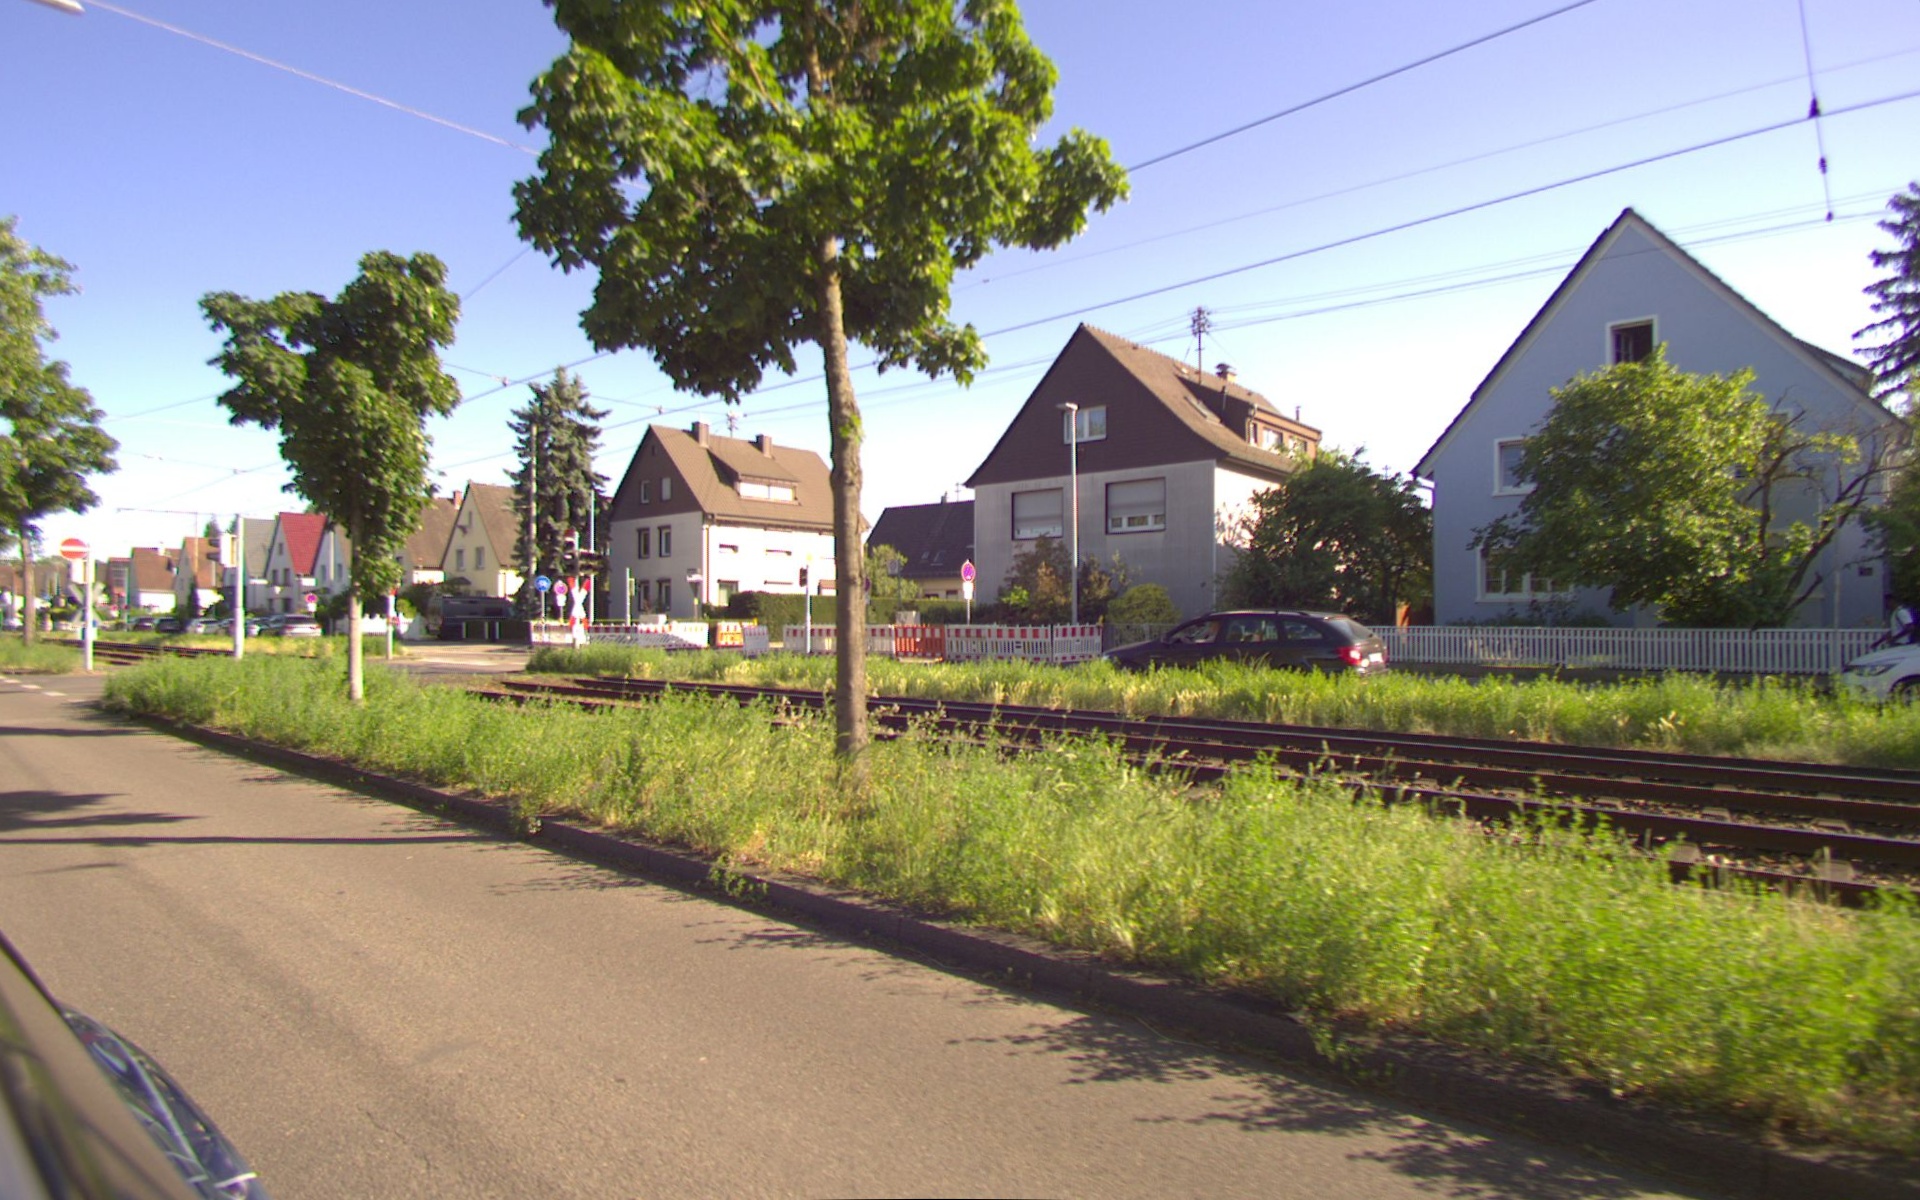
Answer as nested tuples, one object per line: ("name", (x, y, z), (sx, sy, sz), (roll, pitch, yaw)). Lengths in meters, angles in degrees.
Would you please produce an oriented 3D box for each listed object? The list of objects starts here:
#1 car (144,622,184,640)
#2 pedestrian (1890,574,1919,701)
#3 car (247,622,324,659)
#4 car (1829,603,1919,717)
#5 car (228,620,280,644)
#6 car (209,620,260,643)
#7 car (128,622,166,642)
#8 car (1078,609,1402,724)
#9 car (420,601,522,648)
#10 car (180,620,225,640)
("car", (-68.761, 2.661, 87.406), (4.253, 1.506, 1.906), (-1, 0, 41))
("pedestrian", (15.642, 0.590, 16.406), (0.772, 2.029, 0.674), (-1, 0, 40))
("car", (-32.765, 1.928, 49.116), (4.470, 1.615, 1.973), (-1, 0, 41))
("car", (14.870, 0.824, 14.042), (4.225, 1.553, 1.841), (-1, 0, 41))
("car", (-48.122, 2.161, 68.946), (4.054, 1.565, 1.927), (-1, 0, 41))
("car", (-51.786, 2.241, 72.219), (4.125, 1.460, 1.973), (-1, 3, 41))
("car", (-75.089, 2.906, 93.403), (4.388, 1.726, 1.973), (-1, 0, 41))
("car", (4.383, 0.965, 16.389), (4.807, 1.564, 1.644), (-1, 0, 41))
("car", (-28.700, 1.413, 59.503), (2.101, 2.645, 4.977), (-2, -2, 41))
("car", (-58.551, 2.285, 78.186), (4.410, 1.437, 1.972), (-1, 0, 43))
